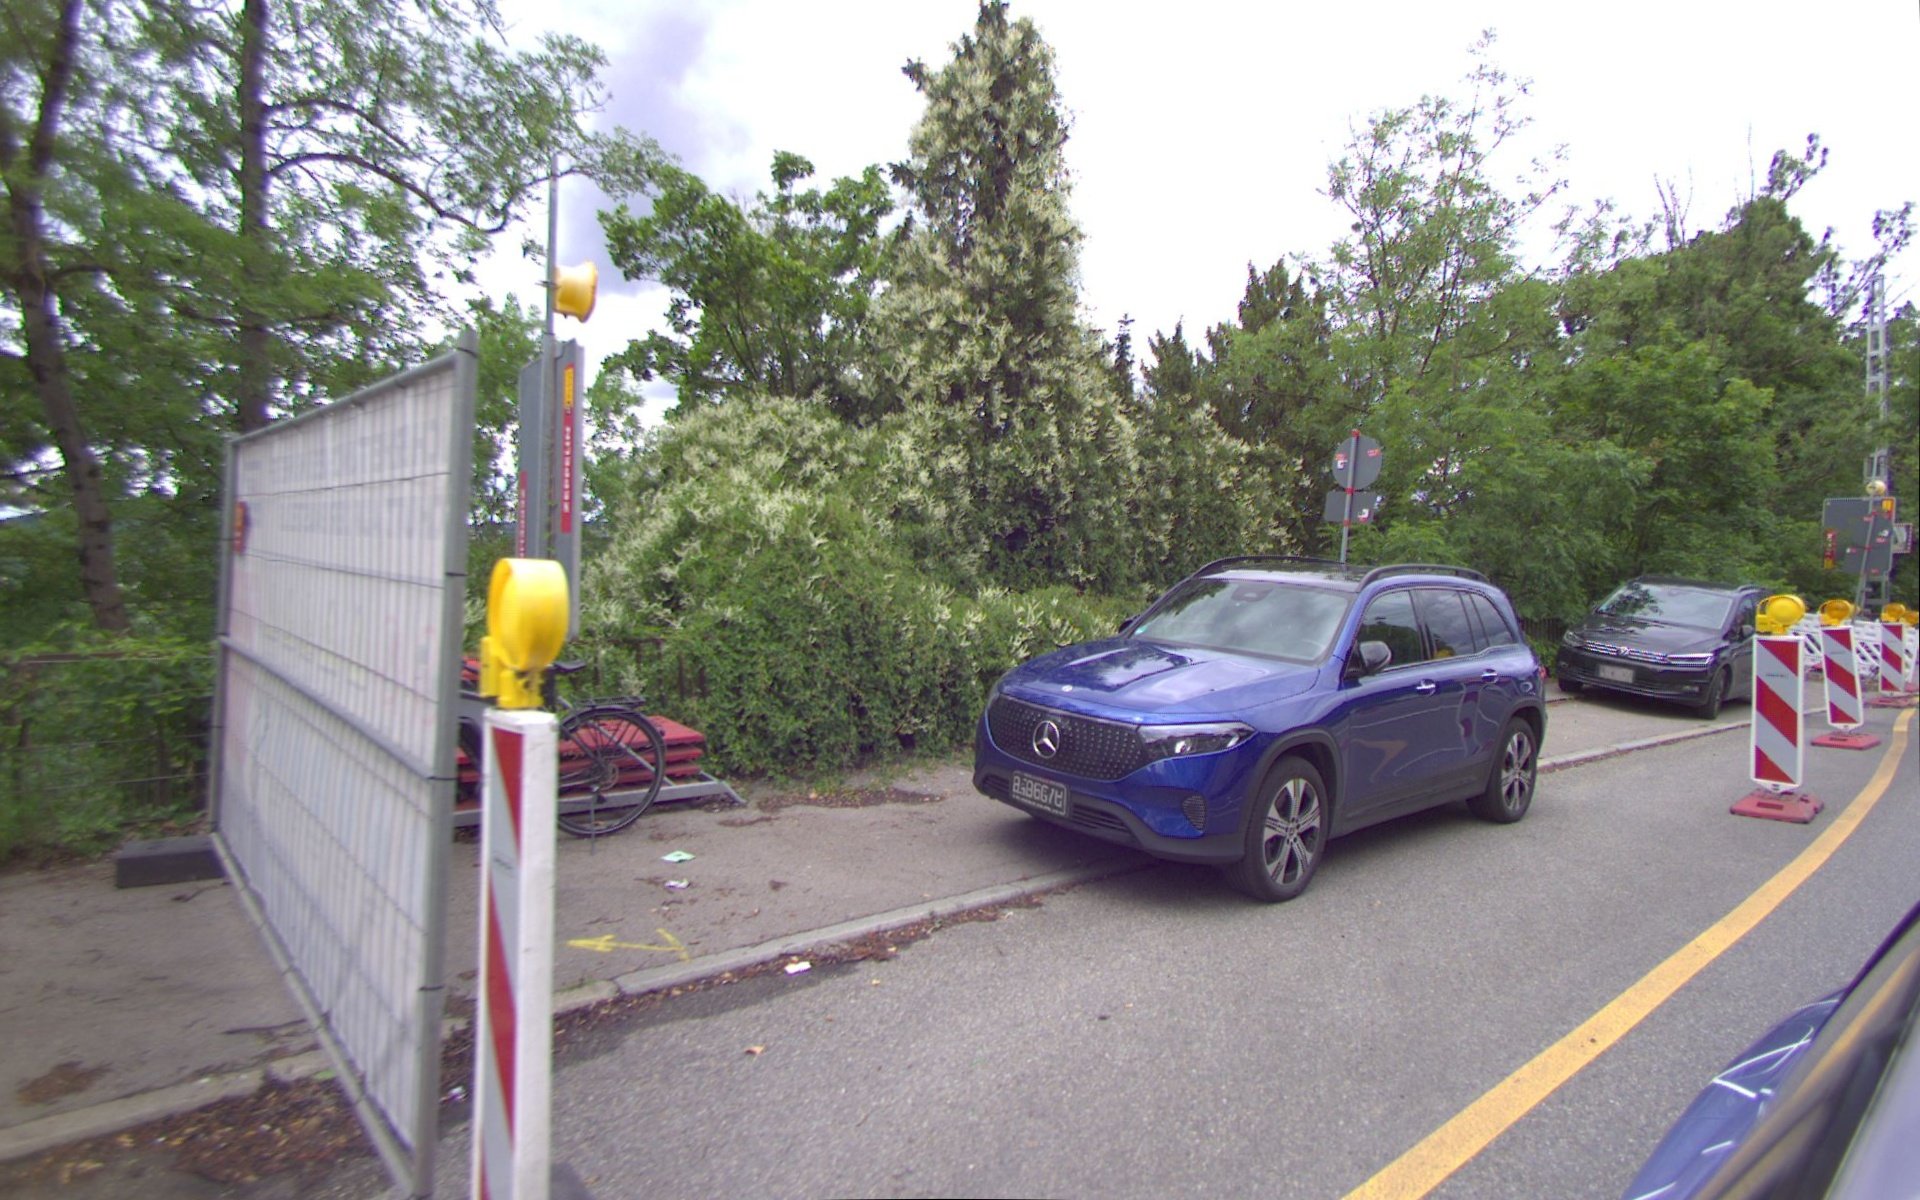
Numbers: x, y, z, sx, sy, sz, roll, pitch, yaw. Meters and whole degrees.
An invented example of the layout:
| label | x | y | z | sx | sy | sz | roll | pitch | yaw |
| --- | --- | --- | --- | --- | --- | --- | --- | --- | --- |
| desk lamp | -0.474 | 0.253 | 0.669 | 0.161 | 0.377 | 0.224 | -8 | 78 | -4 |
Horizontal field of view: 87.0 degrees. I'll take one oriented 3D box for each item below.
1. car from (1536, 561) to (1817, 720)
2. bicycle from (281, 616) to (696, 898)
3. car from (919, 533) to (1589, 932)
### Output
| label | x | y | z | sx | sy | sz | roll | pitch | yaw |
| --- | --- | --- | --- | --- | --- | --- | --- | --- | --- |
| car | 9.902 | 0.438 | 13.860 | 4.563 | 1.693 | 1.868 | 0 | 6 | -39 |
| bicycle | -2.250 | 0.670 | 4.988 | 1.768 | 1.121 | 0.500 | 0 | 3 | -41 |
| car | 2.079 | 0.512 | 6.405 | 4.422 | 1.662 | 1.844 | 0 | 4 | -40 |
